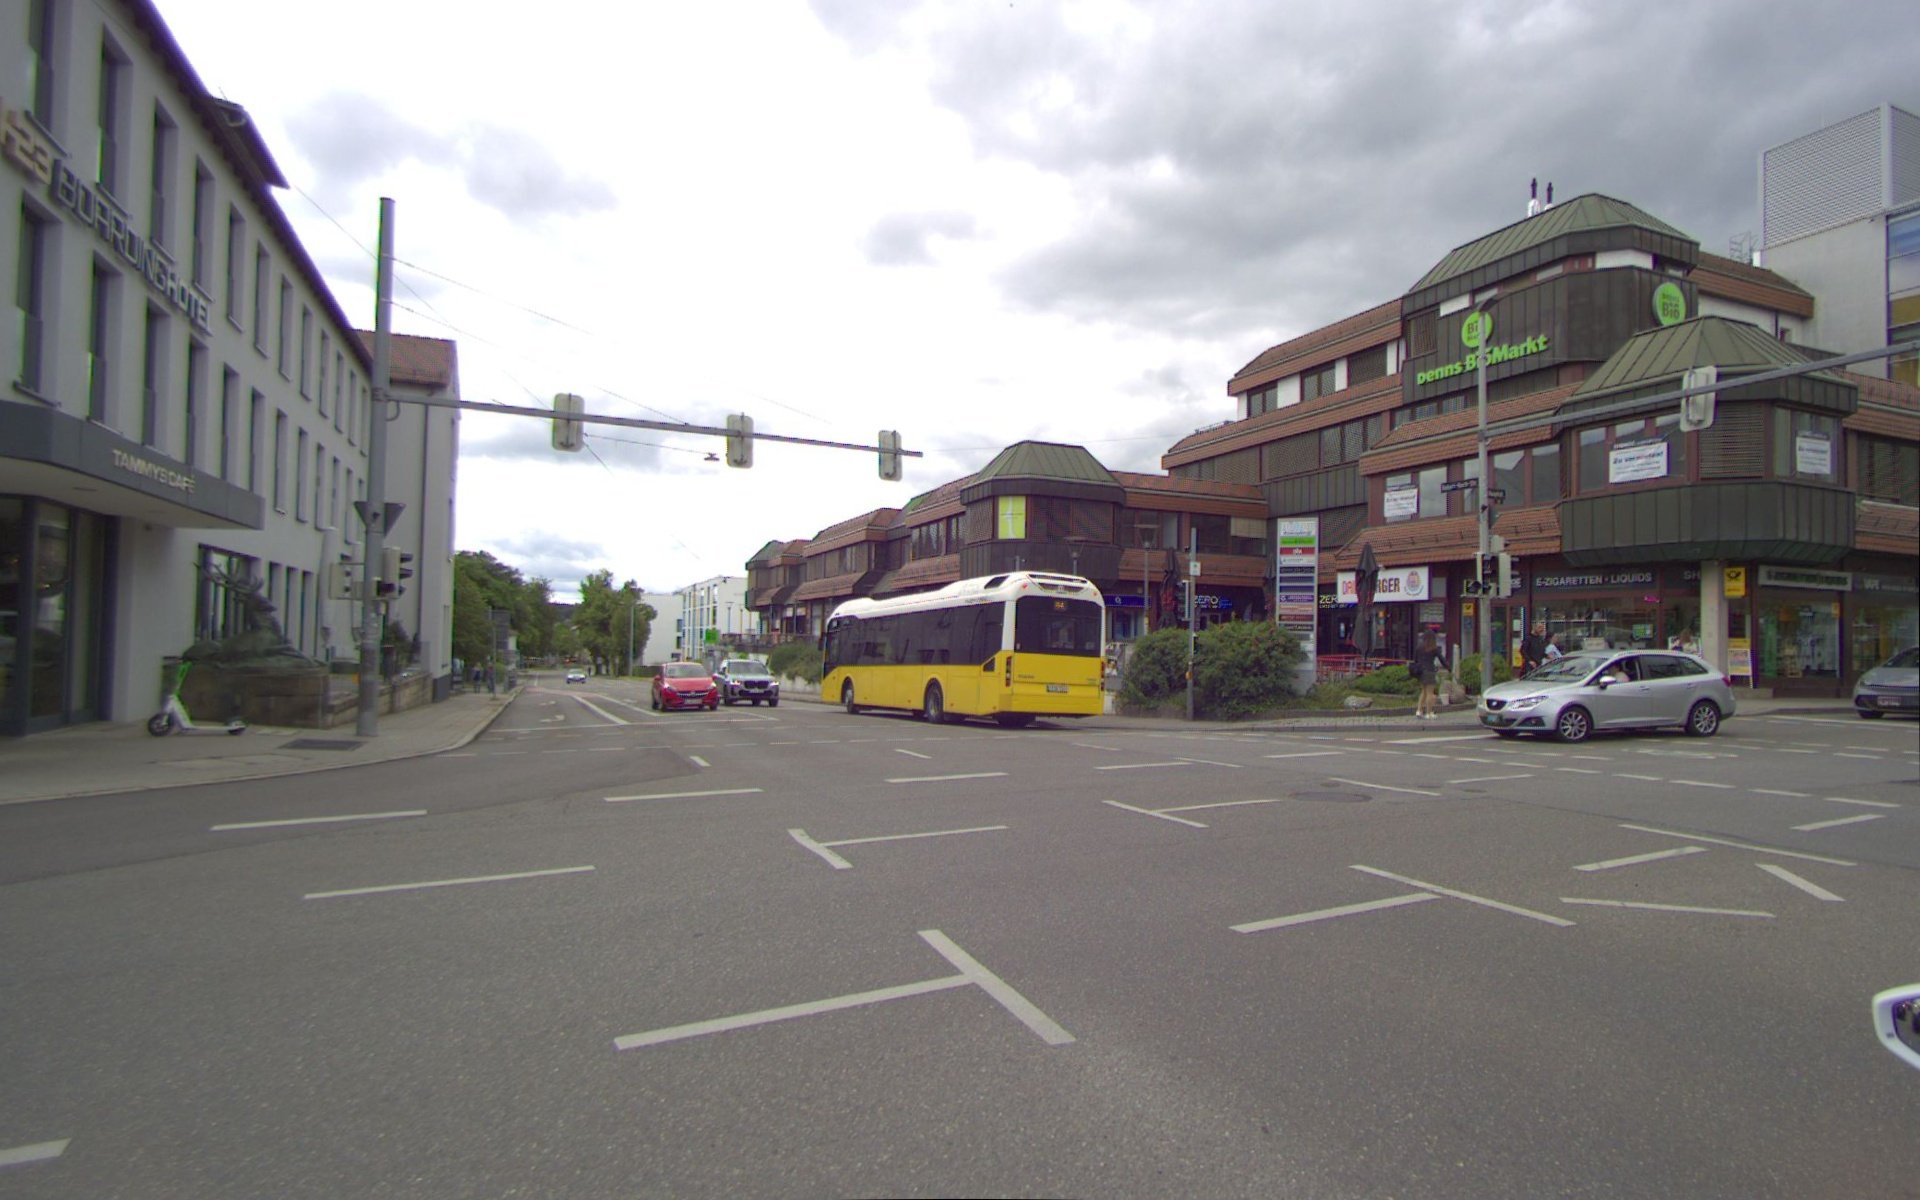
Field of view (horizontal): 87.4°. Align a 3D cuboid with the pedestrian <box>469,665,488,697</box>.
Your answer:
[{"bbox_3d":[-26.059,4.385,54.396,0.850,1.674,0.859,1,-2,-21],"label":"pedestrian"}]

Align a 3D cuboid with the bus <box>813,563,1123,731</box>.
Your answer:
[{"bbox_3d":[-0.547,1.372,26.299,2.958,3.370,12.228,2,-4,-26],"label":"bus"}]

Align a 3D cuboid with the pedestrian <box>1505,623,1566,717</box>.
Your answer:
[{"bbox_3d":[11.551,1.384,20.178,0.737,1.832,0.806,1,-1,-31],"label":"pedestrian"}]

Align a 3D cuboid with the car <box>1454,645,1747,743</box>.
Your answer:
[{"bbox_3d":[10.718,1.534,16.897,4.124,1.436,1.637,-1,-3,-11],"label":"car"}]

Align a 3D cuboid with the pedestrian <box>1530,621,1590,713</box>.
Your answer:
[{"bbox_3d":[12.421,1.368,20.789,0.766,1.832,0.806,1,-1,-31],"label":"pedestrian"}]

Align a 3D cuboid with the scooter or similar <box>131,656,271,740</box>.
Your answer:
[{"bbox_3d":[-11.170,1.437,14.852,0.418,1.173,1.574,0,-4,25],"label":"scooter or similar"}]

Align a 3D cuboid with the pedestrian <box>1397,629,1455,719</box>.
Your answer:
[{"bbox_3d":[9.162,1.436,19.782,0.797,1.736,0.702,0,-1,-2],"label":"pedestrian"}]

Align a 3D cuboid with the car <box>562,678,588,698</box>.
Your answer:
[{"bbox_3d":[-23.673,5.424,61.760,1.321,1.179,2.977,1,-5,-24],"label":"car"}]

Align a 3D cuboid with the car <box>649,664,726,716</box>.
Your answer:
[{"bbox_3d":[-8.581,2.762,31.400,1.790,1.505,3.979,2,-4,-23],"label":"car"}]

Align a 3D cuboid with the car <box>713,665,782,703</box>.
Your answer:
[{"bbox_3d":[-7.721,3.017,36.258,1.775,1.295,3.499,2,-4,-23],"label":"car"}]

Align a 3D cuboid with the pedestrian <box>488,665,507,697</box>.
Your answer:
[{"bbox_3d":[-25.209,4.418,54.708,0.850,1.674,0.859,1,-2,-21],"label":"pedestrian"}]

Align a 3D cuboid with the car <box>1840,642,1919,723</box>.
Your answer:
[{"bbox_3d":[19.920,1.604,20.166,4.326,1.537,1.754,1,-3,-25],"label":"car"}]

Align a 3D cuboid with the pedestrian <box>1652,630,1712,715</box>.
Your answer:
[{"bbox_3d":[14.829,1.472,20.636,0.768,1.715,0.746,1,-2,-28],"label":"pedestrian"}]
